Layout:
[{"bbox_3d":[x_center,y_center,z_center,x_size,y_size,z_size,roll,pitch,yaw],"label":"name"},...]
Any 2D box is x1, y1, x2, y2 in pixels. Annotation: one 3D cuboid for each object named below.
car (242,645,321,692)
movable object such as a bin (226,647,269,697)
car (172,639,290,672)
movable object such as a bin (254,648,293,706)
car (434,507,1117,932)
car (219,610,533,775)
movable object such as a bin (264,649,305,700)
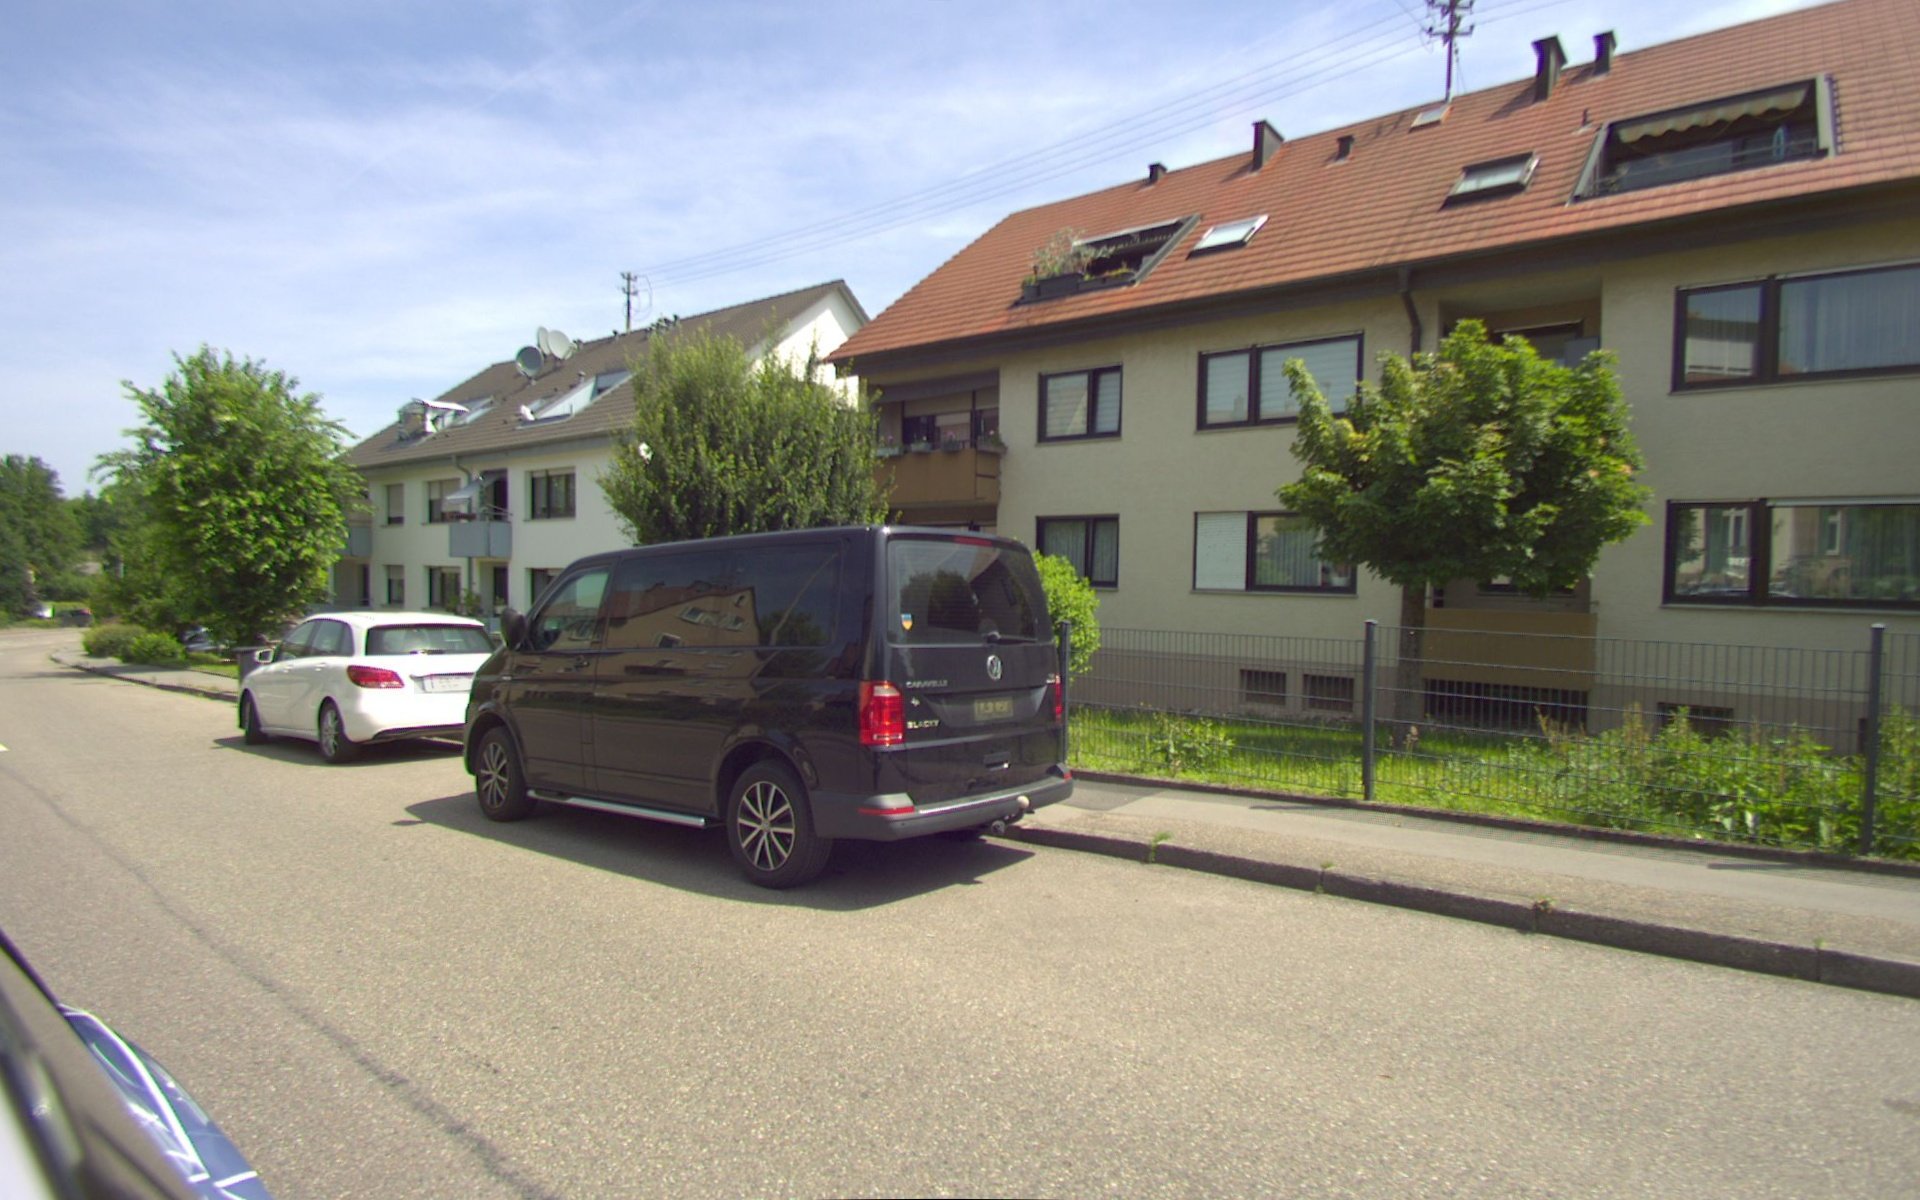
[{"bbox_3d":[-26.250,2.605,39.119,3.226,1.551,1.458,2,0,35],"label":"car"},{"bbox_3d":[-13.958,1.395,19.830,0.612,0.924,0.687,1,-2,-42],"label":"movable object such as a bin"},{"bbox_3d":[-32.494,2.478,45.189,1.645,1.256,3.915,-1,-6,41],"label":"car"},{"bbox_3d":[-12.200,1.357,17.986,0.500,0.995,0.564,0,-1,-42],"label":"movable object such as a bin"},{"bbox_3d":[-1.529,0.614,6.907,4.865,1.935,1.878,-2,-2,39],"label":"car"},{"bbox_3d":[-6.901,0.947,11.780,4.239,1.561,1.793,-2,-1,39],"label":"car"},{"bbox_3d":[-12.907,1.413,19.334,0.556,0.924,0.643,1,-2,-42],"label":"movable object such as a bin"}]
